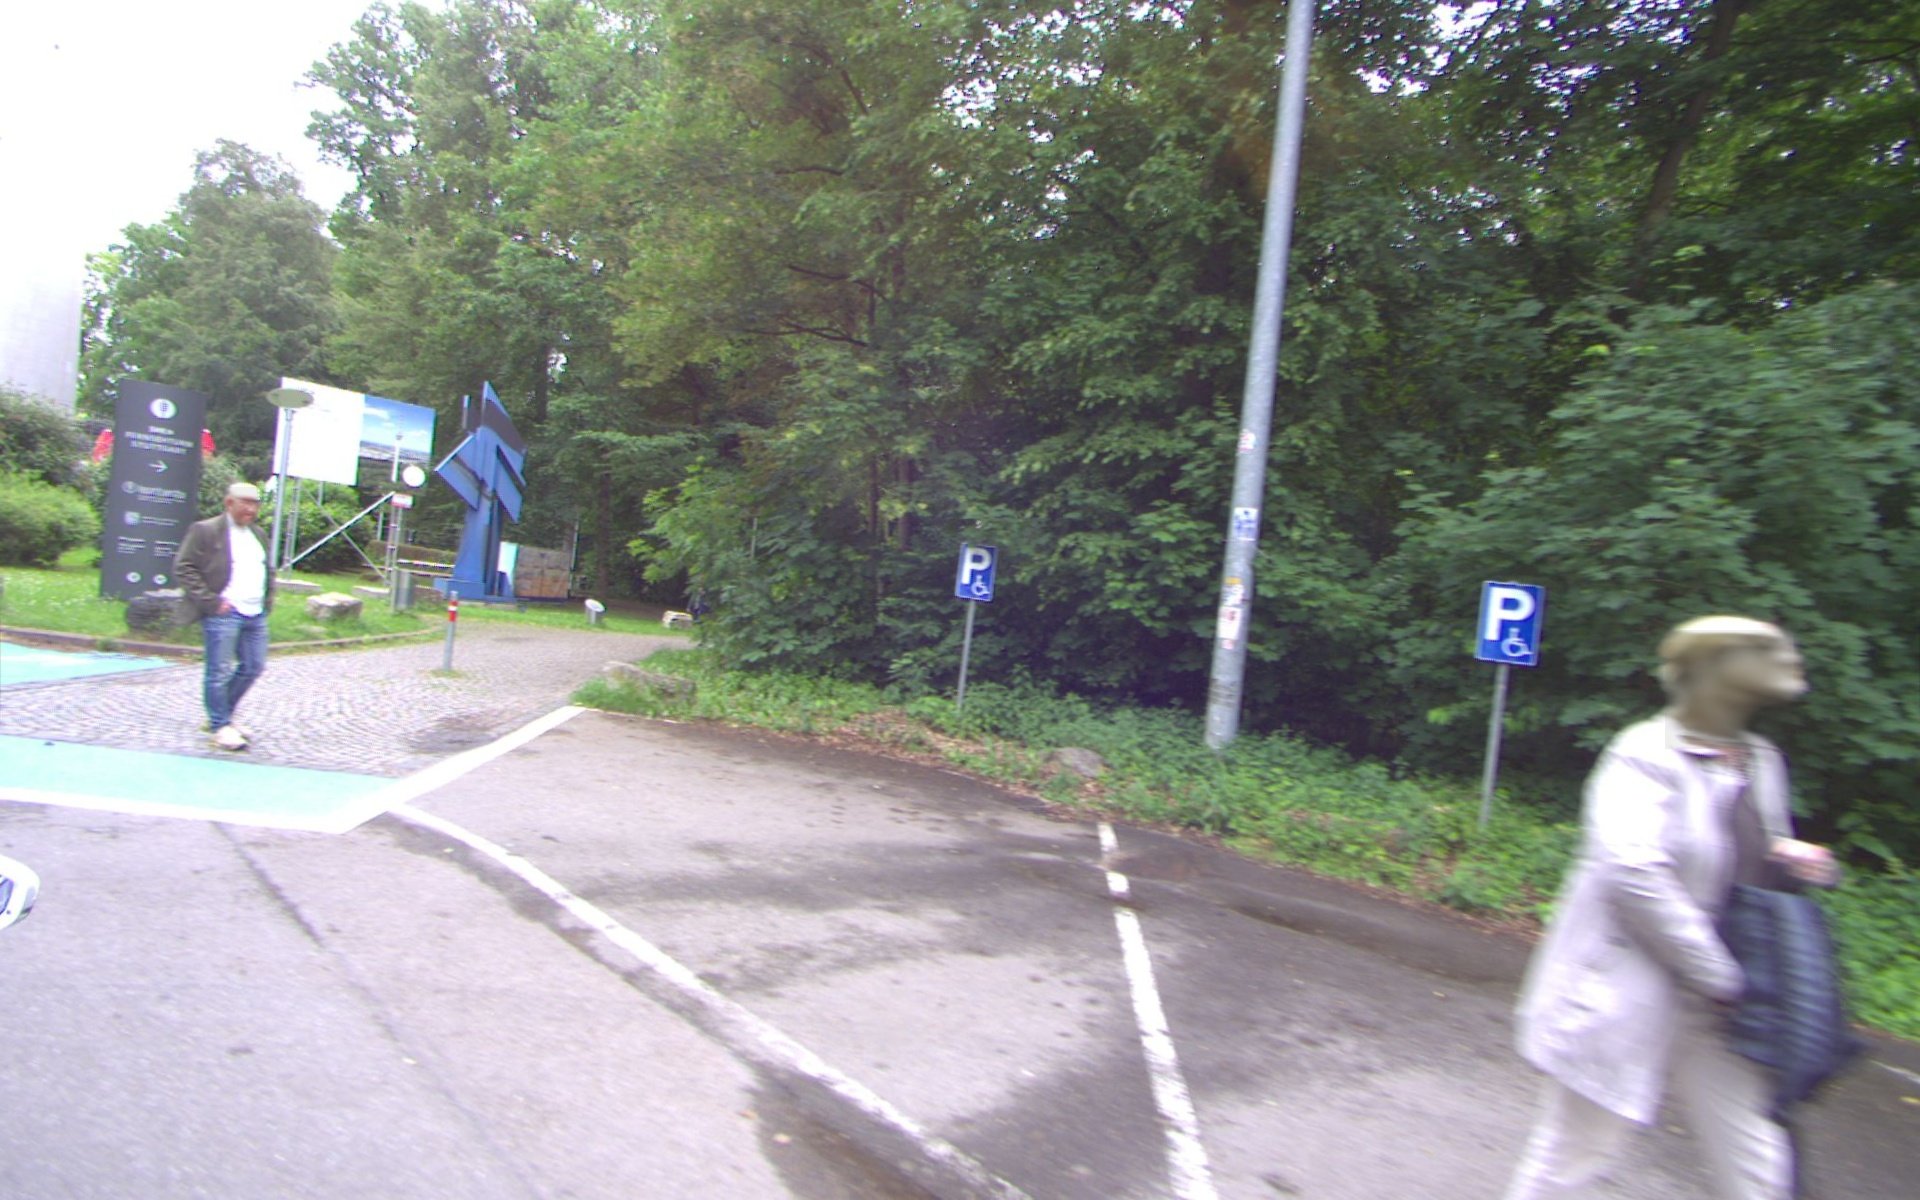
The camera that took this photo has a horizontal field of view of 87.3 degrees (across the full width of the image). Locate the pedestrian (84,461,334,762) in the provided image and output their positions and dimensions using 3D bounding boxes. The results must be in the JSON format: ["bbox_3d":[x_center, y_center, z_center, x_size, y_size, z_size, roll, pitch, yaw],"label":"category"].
[{"bbox_3d":[-4.845,0.076,6.533,0.880,1.746,0.764,7,0,14],"label":"pedestrian"}]

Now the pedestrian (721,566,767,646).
[{"bbox_3d":[-5.470,0.159,25.522,0.720,1.939,0.668,7,0,10],"label":"pedestrian"}]

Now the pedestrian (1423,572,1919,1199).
[{"bbox_3d":[1.721,0.876,2.288,0.760,1.746,0.885,7,0,-44],"label":"pedestrian"}]

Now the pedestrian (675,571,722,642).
[{"bbox_3d":[-6.490,0.176,25.022,0.764,1.654,0.637,7,0,10],"label":"pedestrian"}]
